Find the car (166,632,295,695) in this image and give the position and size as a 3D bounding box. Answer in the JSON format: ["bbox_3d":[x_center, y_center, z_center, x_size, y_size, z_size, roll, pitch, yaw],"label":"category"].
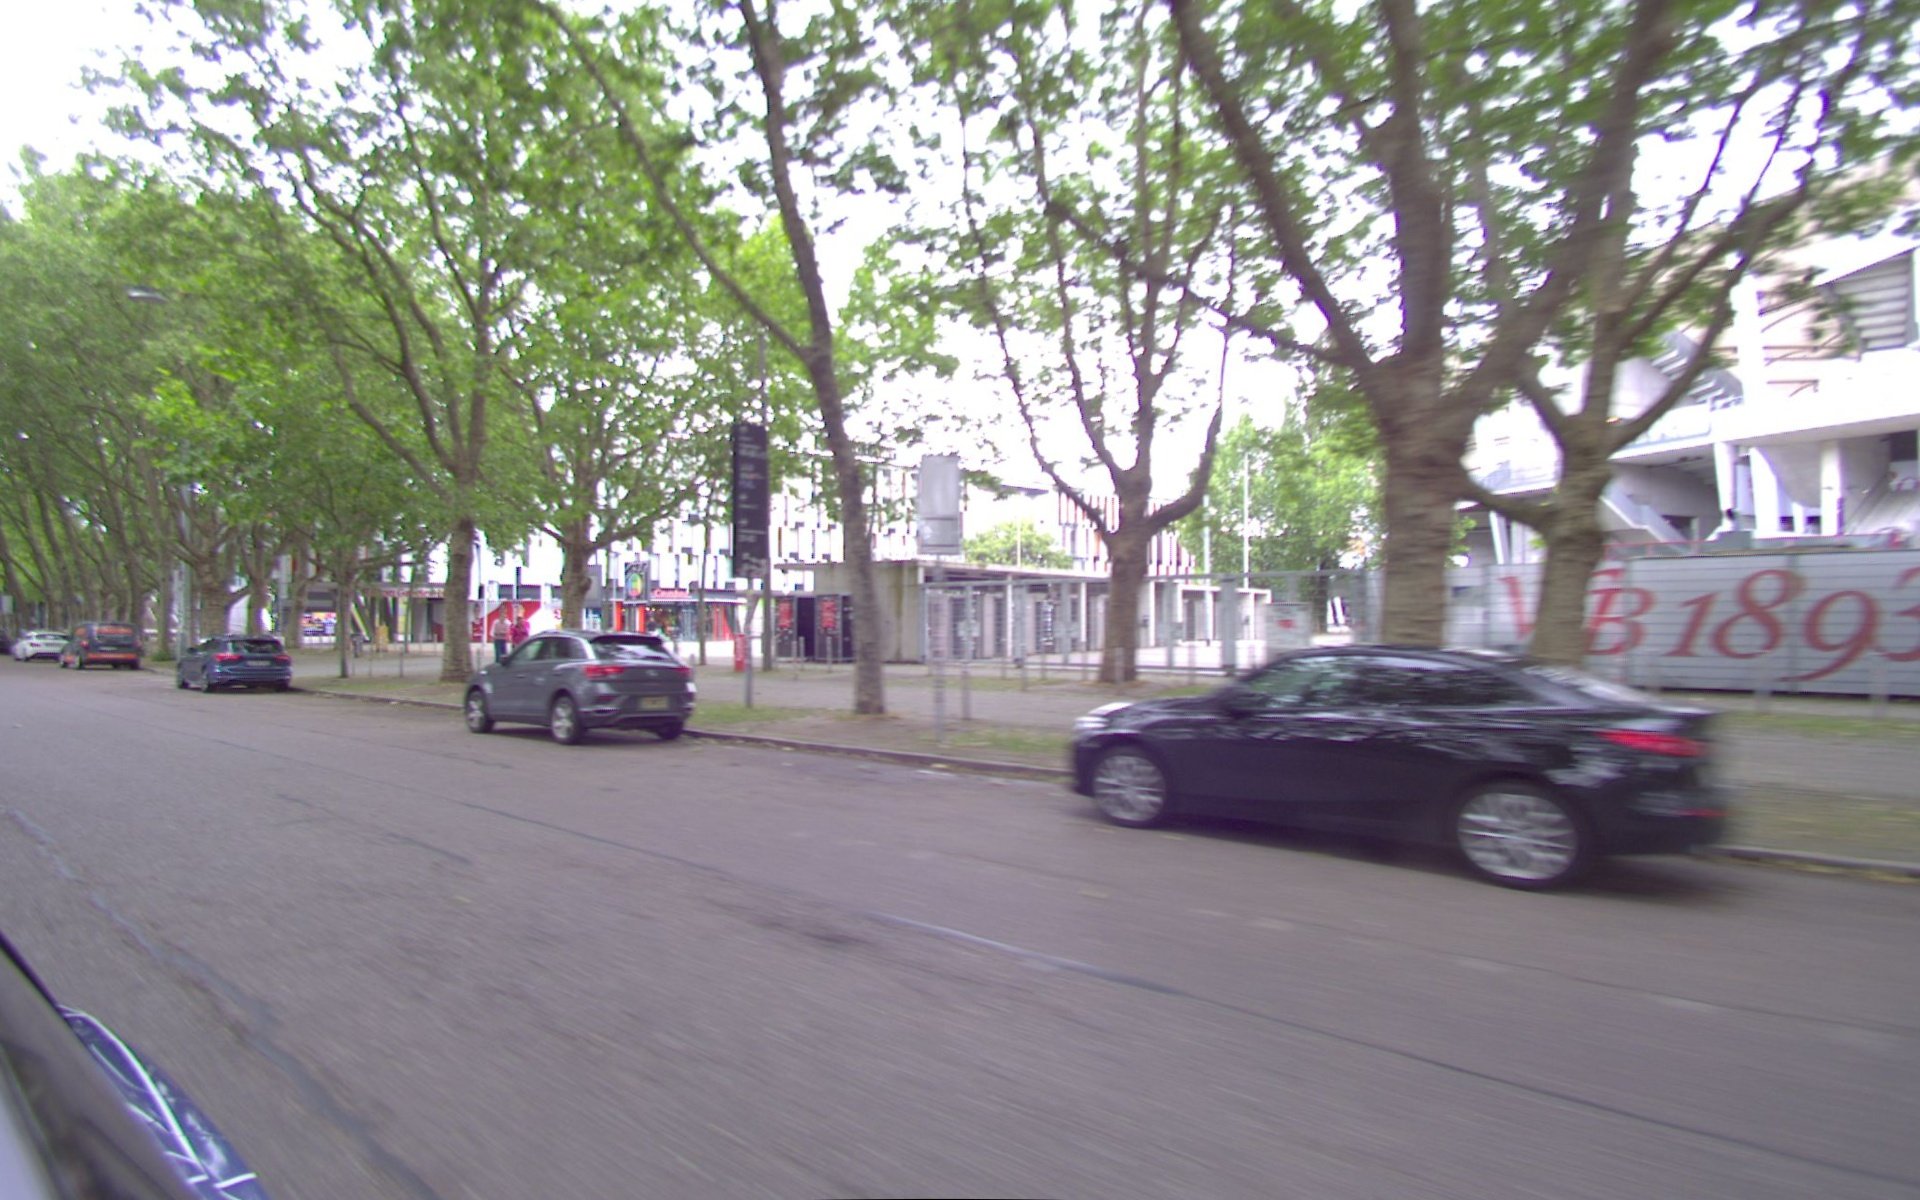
[{"bbox_3d":[-19.038,1.592,26.338,4.571,1.497,1.707,-2,-2,41],"label":"car"}]

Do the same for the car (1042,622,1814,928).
[{"bbox_3d":[2.959,0.925,7.162,4.627,1.477,1.807,-2,-3,43],"label":"car"}]

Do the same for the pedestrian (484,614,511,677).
[{"bbox_3d":[-13.328,1.289,29.136,0.569,1.783,0.769,1,-2,-35],"label":"pedestrian"}]

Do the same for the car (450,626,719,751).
[{"bbox_3d":[-5.495,1.171,14.591,4.148,1.538,1.858,-2,-3,41],"label":"car"}]

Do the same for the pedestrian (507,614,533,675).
[{"bbox_3d":[-12.851,1.288,29.543,0.567,1.755,0.769,1,-2,-35],"label":"pedestrian"}]

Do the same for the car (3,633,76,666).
[{"bbox_3d":[-42.952,2.284,47.176,4.748,1.413,1.884,-2,-5,41],"label":"car"}]

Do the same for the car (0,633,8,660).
[{"bbox_3d":[-56.713,2.644,58.574,4.440,1.506,1.814,-2,-5,41],"label":"car"}]

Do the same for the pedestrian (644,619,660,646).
[{"bbox_3d":[-19.379,2.044,63.681,0.808,1.704,0.716,-2,-2,44],"label":"pedestrian"}]

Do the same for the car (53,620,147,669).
[{"bbox_3d":[-32.436,1.666,38.130,4.634,1.764,1.929,-1,-3,40],"label":"car"}]
